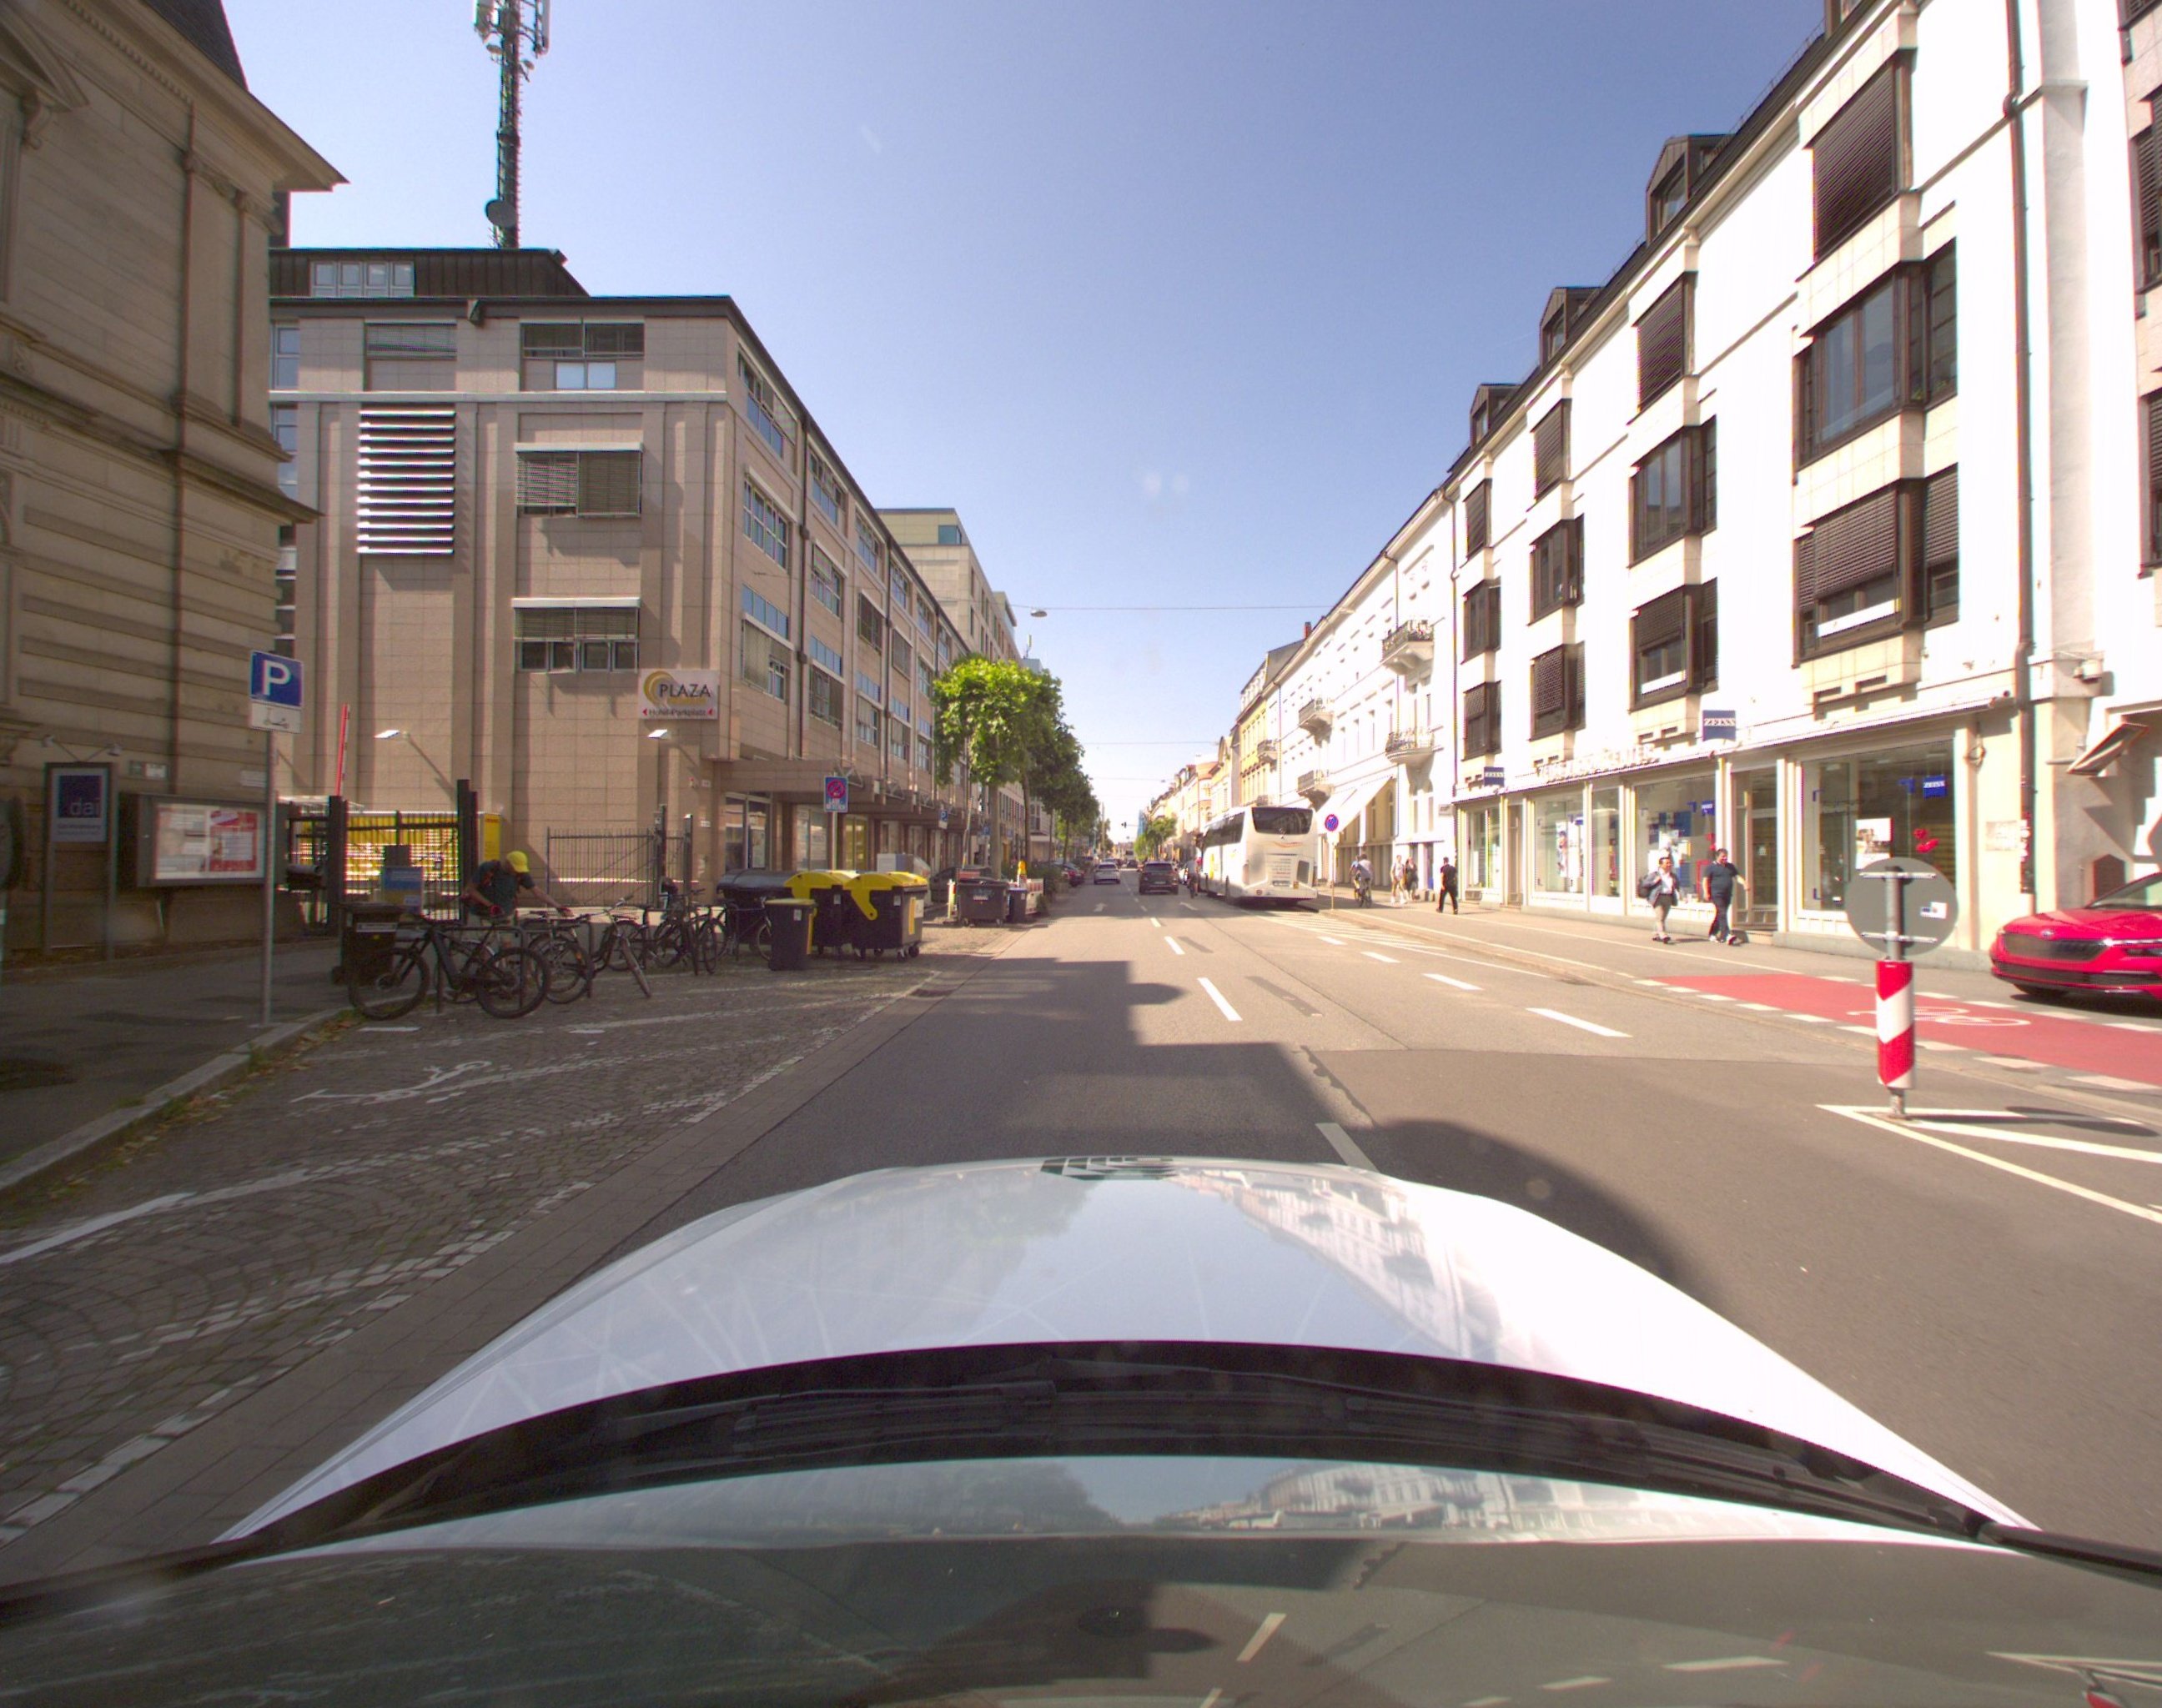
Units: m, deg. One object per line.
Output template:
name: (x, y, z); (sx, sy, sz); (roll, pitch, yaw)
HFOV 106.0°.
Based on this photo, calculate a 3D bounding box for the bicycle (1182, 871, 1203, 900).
bicycle: (4.698, 1.298, 34.392); (0.662, 1.120, 2.245); (3, 0, 3)

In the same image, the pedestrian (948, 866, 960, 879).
pedestrian: (-8.285, 1.228, 53.266); (0.563, 0.809, 0.774); (6, -1, 2)

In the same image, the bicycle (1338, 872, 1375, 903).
bicycle: (10.519, 1.259, 31.191); (0.618, 1.099, 2.352); (1, -1, 1)

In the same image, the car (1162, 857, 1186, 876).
car: (8.340, 1.155, 73.607); (1.826, 1.527, 4.001); (-1, -2, 2)

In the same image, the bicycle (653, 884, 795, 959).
bicycle: (-5.653, 1.065, 12.965); (1.962, 1.120, 0.509); (2, -2, -2)

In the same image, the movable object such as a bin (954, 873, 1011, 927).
movable object such as a bin: (-2.457, 1.133, 20.491); (1.272, 1.299, 0.854); (1, -1, 2)

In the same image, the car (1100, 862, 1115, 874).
car: (3.126, 1.622, 96.319); (1.736, 1.441, 4.002); (0, -1, 2)

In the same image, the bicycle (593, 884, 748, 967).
bicycle: (-6.126, 1.062, 12.219); (1.969, 1.120, 0.509); (3, -2, -2)

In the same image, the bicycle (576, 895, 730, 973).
bicycle: (-6.065, 1.123, 11.600); (1.838, 1.073, 0.556); (0, -3, -2)

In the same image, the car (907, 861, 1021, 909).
car: (-4.231, 1.059, 29.204); (4.007, 1.494, 1.947); (2, 0, 43)

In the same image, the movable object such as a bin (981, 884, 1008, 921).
movable object such as a bin: (-2.312, 1.288, 21.769); (0.495, 0.939, 0.558); (-1, 0, 18)

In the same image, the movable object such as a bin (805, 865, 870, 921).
movable object such as a bin: (-6.110, 0.959, 20.473); (1.204, 1.299, 1.128); (2, 0, 2)

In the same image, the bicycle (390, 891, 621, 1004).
bicycle: (-6.263, 1.016, 8.956); (1.959, 1.120, 0.555); (3, -2, -9)

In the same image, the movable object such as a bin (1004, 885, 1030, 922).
movable object such as a bin: (-1.726, 1.335, 21.998); (0.556, 0.939, 0.496); (-1, 0, -24)

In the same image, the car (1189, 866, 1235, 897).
car: (6.905, 1.415, 43.295); (1.851, 1.470, 5.229); (2, -1, 3)

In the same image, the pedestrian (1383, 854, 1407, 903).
pedestrian: (11.615, 0.922, 30.122); (0.570, 1.779, 1.021); (0, -3, 5)

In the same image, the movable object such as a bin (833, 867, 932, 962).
movable object such as a bin: (-3.326, 0.977, 13.793); (1.117, 1.451, 1.442); (2, 0, 8)

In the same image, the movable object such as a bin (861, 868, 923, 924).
movable object such as a bin: (-4.722, 1.036, 20.389); (1.204, 1.299, 1.080); (3, 0, 2)

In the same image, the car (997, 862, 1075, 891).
car: (-2.731, 1.325, 48.755); (4.698, 1.533, 2.002); (1, -1, 44)

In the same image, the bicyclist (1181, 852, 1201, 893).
bicyclist: (4.661, 0.772, 34.637); (0.691, 1.673, 0.916); (3, 0, 3)

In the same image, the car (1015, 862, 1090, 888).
car: (-1.846, 1.290, 51.708); (4.737, 1.422, 1.894); (2, 0, 42)

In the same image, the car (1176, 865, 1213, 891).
car: (7.500, 1.552, 54.283); (1.807, 1.466, 4.579); (2, 0, 0)

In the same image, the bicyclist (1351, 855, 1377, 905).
bicyclist: (9.516, 0.866, 27.418); (0.690, 1.626, 0.837); (0, -1, 10)

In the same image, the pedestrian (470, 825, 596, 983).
pedestrian: (-6.273, 0.559, 9.367); (0.887, 1.725, 0.747); (1, -1, -5)

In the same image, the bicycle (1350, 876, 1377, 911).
bicycle: (9.636, 1.325, 27.806); (0.591, 1.120, 1.806); (0, -1, 10)

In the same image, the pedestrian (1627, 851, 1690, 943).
pedestrian: (11.003, 0.803, 15.534); (0.690, 1.686, 0.838); (0, -1, 11)

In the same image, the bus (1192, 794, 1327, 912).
bus: (6.725, 0.044, 32.935); (2.871, 3.742, 12.428); (3, -1, 1)

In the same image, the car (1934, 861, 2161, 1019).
car: (12.239, 0.827, 8.776); (4.027, 1.494, 1.843); (-1, -1, 3)

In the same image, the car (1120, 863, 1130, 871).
car: (8.571, 2.577, 160.029); (1.856, 1.441, 4.000); (0, -3, 2)

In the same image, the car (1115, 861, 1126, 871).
car: (6.816, 2.082, 141.179); (1.856, 1.441, 4.000); (0, -3, 2)

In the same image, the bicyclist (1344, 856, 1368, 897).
bicyclist: (10.528, 0.841, 31.152); (0.618, 1.529, 0.869); (1, -1, 1)

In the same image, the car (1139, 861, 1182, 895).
car: (3.747, 1.103, 39.117); (1.826, 1.527, 4.002); (0, -1, 2)

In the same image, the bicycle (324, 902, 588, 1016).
bicycle: (-6.230, 1.044, 8.232); (1.962, 1.017, 0.669); (3, -2, -9)

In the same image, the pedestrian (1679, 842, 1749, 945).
pedestrian: (11.820, 0.731, 15.234); (0.690, 1.851, 0.838); (0, -3, 11)

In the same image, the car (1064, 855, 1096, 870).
car: (-0.155, 1.331, 126.675); (4.665, 2.003, 1.953); (4, -1, 42)

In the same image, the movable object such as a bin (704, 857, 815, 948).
movable object such as a bin: (-5.568, 0.810, 14.206); (1.202, 1.451, 1.367); (2, 0, 8)

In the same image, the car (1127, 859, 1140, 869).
car: (7.824, 1.500, 122.328); (1.856, 1.441, 4.001); (0, -1, 2)

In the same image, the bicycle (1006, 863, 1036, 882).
bicycle: (-4.310, 1.322, 58.204); (2.062, 1.288, 0.367); (3, -2, -6)

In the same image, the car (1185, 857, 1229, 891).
car: (7.490, 1.167, 48.826); (1.822, 1.863, 4.352); (2, 0, -1)

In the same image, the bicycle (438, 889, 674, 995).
bicycle: (-6.125, 1.035, 9.609); (2.235, 1.120, 0.555); (3, -2, -9)

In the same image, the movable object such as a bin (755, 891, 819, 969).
movable object such as a bin: (-4.469, 1.151, 12.410); (0.721, 1.098, 0.655); (2, 0, -6)

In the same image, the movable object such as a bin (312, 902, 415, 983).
movable object such as a bin: (-8.063, 0.986, 9.177); (0.653, 0.876, 0.510); (1, -2, -6)

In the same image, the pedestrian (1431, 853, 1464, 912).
pedestrian: (10.828, 0.849, 24.087); (0.617, 1.720, 0.836); (1, -3, 5)

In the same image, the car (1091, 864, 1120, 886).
car: (1.662, 1.425, 55.826); (1.856, 1.441, 4.000); (0, -1, 1)

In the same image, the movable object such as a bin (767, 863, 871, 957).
movable object such as a bin: (-4.438, 0.910, 13.934); (1.117, 1.451, 1.442); (2, 0, 8)

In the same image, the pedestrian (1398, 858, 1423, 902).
pedestrian: (12.536, 0.990, 30.983); (0.642, 1.617, 0.823); (0, -3, 5)

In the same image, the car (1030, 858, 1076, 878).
car: (-2.477, 1.262, 73.098); (3.976, 1.500, 1.716); (5, -1, -2)

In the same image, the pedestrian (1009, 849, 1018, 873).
pedestrian: (-4.842, 0.499, 58.485); (0.564, 1.657, 0.636); (1, -1, -4)

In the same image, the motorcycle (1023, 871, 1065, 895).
motorcycle: (-1.860, 1.445, 40.866); (1.893, 1.170, 0.764); (1, -1, 23)

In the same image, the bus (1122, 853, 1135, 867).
bus: (12.224, 1.659, 211.548); (2.762, 3.605, 8.970); (0, -1, -1)
